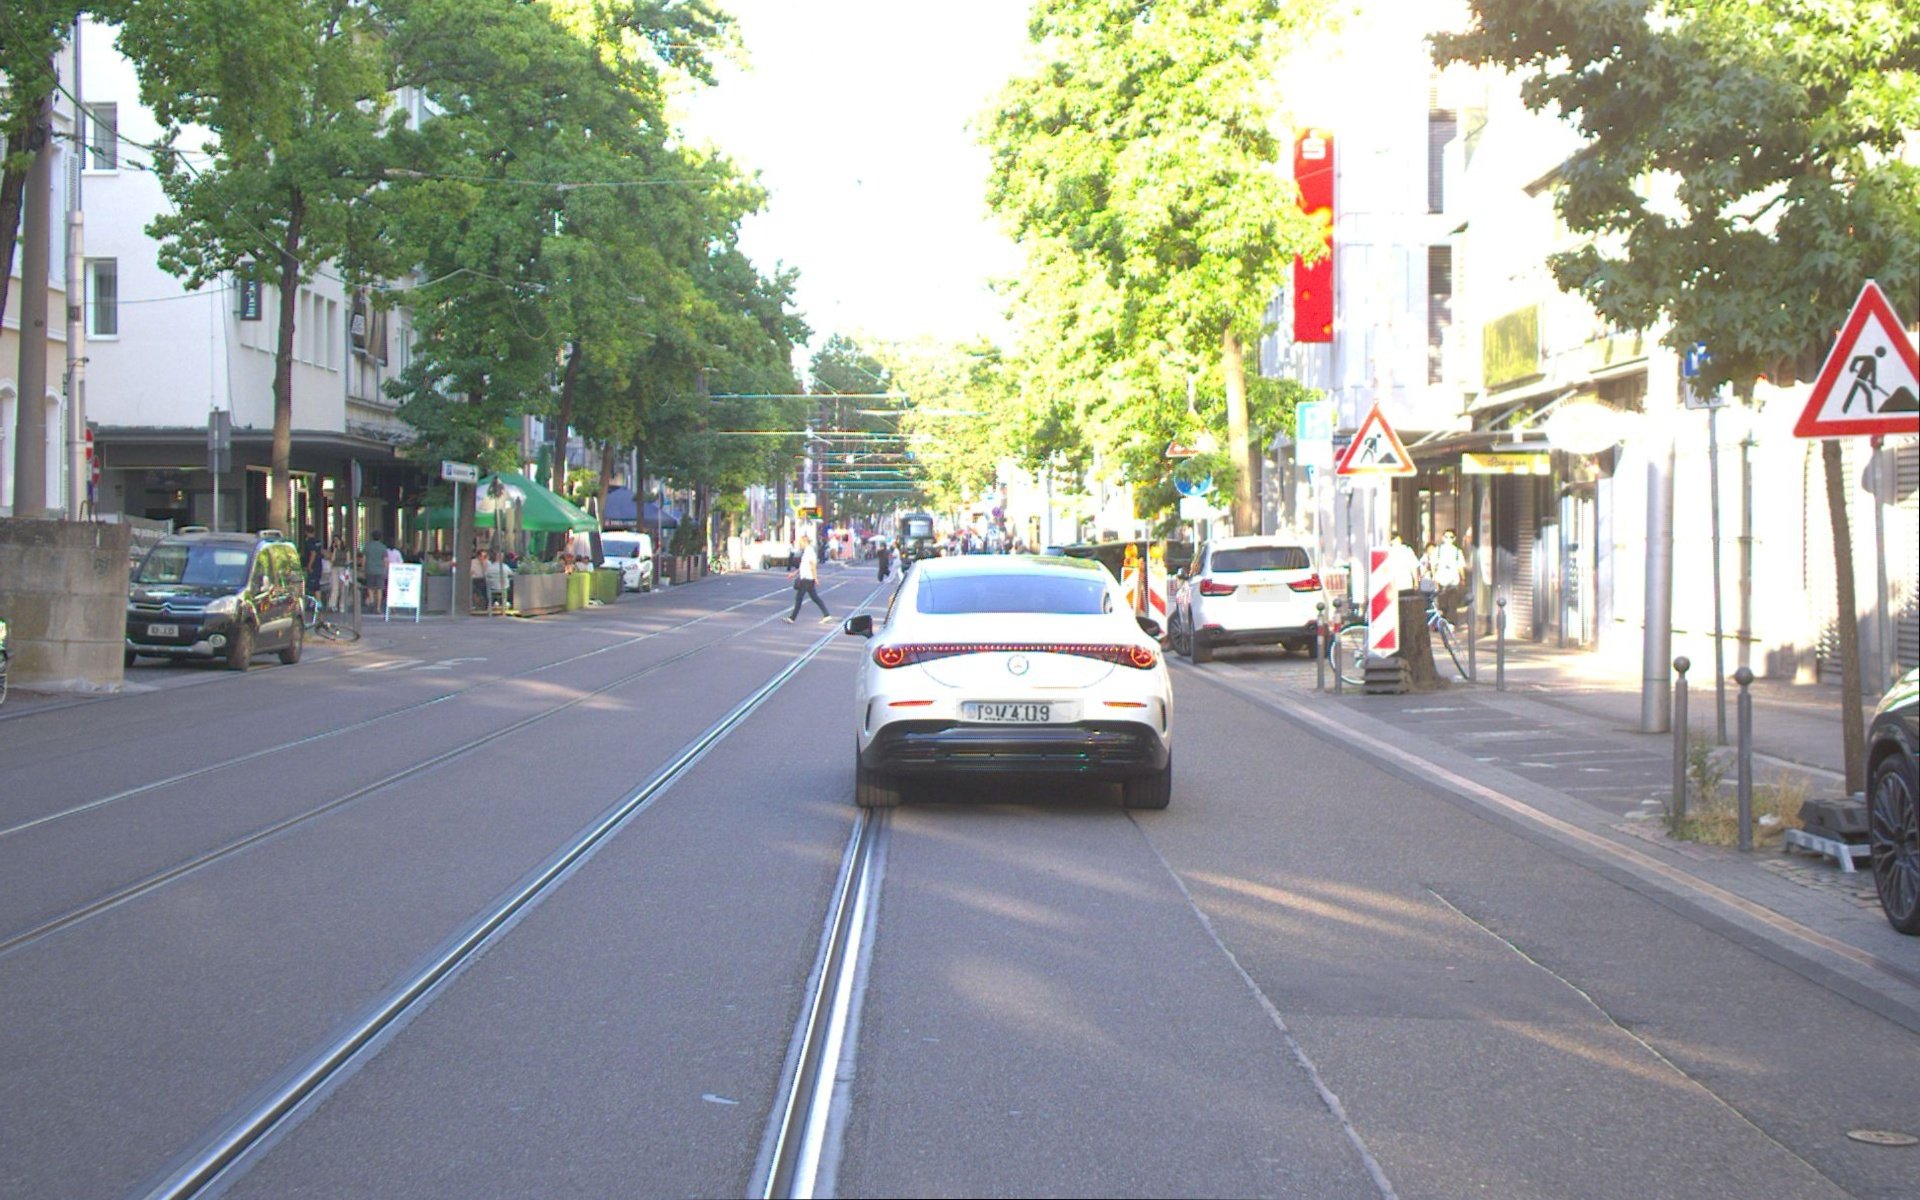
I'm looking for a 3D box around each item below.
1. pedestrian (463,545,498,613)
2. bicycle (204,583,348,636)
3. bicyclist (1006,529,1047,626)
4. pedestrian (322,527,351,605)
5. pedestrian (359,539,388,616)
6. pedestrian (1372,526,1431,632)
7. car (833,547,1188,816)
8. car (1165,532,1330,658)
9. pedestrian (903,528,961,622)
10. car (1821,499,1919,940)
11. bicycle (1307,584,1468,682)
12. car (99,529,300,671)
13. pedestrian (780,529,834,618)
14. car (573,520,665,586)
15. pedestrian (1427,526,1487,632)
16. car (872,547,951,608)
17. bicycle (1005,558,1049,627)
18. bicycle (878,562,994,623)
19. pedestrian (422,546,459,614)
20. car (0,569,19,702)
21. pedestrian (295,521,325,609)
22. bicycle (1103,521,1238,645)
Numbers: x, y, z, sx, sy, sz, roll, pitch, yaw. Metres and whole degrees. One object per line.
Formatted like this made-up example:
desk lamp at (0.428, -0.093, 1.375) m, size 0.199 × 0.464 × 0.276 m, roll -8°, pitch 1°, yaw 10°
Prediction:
pedestrian at (-10.646, -0.465, 76.258) m, size 0.517 × 1.473 × 0.650 m, roll -3°, pitch 0°, yaw -27°
bicycle at (-11.001, 0.150, 55.264) m, size 2.255 × 0.827 × 0.716 m, roll 0°, pitch 1°, yaw 22°
bicyclist at (1.177, -0.404, 60.881) m, size 0.724 × 1.697 × 0.811 m, roll 0°, pitch 1°, yaw 0°
pedestrian at (-13.169, -0.716, 72.608) m, size 0.517 × 1.647 × 0.650 m, roll 0°, pitch 1°, yaw -1°
pedestrian at (-12.431, -0.478, 72.911) m, size 0.517 × 1.610 × 0.650 m, roll 0°, pitch 1°, yaw -1°
pedestrian at (7.416, -0.361, 57.774) m, size 0.799 × 1.768 × 0.683 m, roll 0°, pitch 1°, yaw -12°
car at (0.204, 0.418, 20.877) m, size 1.868 × 1.464 × 4.043 m, roll 0°, pitch 1°, yaw -3°
car at (4.052, -0.109, 49.111) m, size 1.993 × 1.722 × 4.241 m, roll 0°, pitch 1°, yaw 0°
pedestrian at (-0.544, -0.482, 65.520) m, size 0.919 × 1.768 × 0.874 m, roll 0°, pitch 1°, yaw -15°
car at (4.726, 0.485, 12.332) m, size 1.993 × 1.707 × 4.867 m, roll 0°, pitch 1°, yaw -1°
bicycle at (4.711, 0.362, 37.908) m, size 1.723 × 1.058 × 0.581 m, roll 0°, pitch 1°, yaw 3°
car at (-9.927, -0.034, 45.052) m, size 1.553 × 1.789 × 3.166 m, roll 0°, pitch 1°, yaw 8°
pedestrian at (-3.044, -0.529, 68.346) m, size 0.919 × 1.768 × 0.874 m, roll 0°, pitch 1°, yaw -15°
car at (-10.639, -1.481, 107.488) m, size 1.994 × 2.007 × 3.999 m, roll 0°, pitch 1°, yaw 8°
pedestrian at (8.355, -0.364, 57.789) m, size 0.799 × 1.768 × 0.683 m, roll 0°, pitch 1°, yaw -12°
car at (-2.528, -1.189, 181.022) m, size 4.038 × 3.103 × 8.431 m, roll 0°, pitch 1°, yaw -1°
bicycle at (1.177, -0.143, 60.830) m, size 0.740 × 1.184 × 2.160 m, roll 0°, pitch 1°, yaw 1°
bicycle at (-0.463, -0.149, 65.536) m, size 2.047 × 1.132 × 0.874 m, roll 0°, pitch 1°, yaw -15°
pedestrian at (-11.298, -0.434, 74.785) m, size 0.569 × 1.459 × 0.649 m, roll 0°, pitch 1°, yaw 19°
car at (-10.263, 0.361, 31.887) m, size 1.993 × 1.287 × 4.000 m, roll 0°, pitch 1°, yaw -1°
pedestrian at (-13.753, -0.742, 72.764) m, size 0.517 × 1.849 × 0.650 m, roll 0°, pitch 1°, yaw -1°
bicycle at (3.504, -0.303, 57.876) m, size 1.993 × 2.007 × 4.000 m, roll 0°, pitch 1°, yaw -1°
